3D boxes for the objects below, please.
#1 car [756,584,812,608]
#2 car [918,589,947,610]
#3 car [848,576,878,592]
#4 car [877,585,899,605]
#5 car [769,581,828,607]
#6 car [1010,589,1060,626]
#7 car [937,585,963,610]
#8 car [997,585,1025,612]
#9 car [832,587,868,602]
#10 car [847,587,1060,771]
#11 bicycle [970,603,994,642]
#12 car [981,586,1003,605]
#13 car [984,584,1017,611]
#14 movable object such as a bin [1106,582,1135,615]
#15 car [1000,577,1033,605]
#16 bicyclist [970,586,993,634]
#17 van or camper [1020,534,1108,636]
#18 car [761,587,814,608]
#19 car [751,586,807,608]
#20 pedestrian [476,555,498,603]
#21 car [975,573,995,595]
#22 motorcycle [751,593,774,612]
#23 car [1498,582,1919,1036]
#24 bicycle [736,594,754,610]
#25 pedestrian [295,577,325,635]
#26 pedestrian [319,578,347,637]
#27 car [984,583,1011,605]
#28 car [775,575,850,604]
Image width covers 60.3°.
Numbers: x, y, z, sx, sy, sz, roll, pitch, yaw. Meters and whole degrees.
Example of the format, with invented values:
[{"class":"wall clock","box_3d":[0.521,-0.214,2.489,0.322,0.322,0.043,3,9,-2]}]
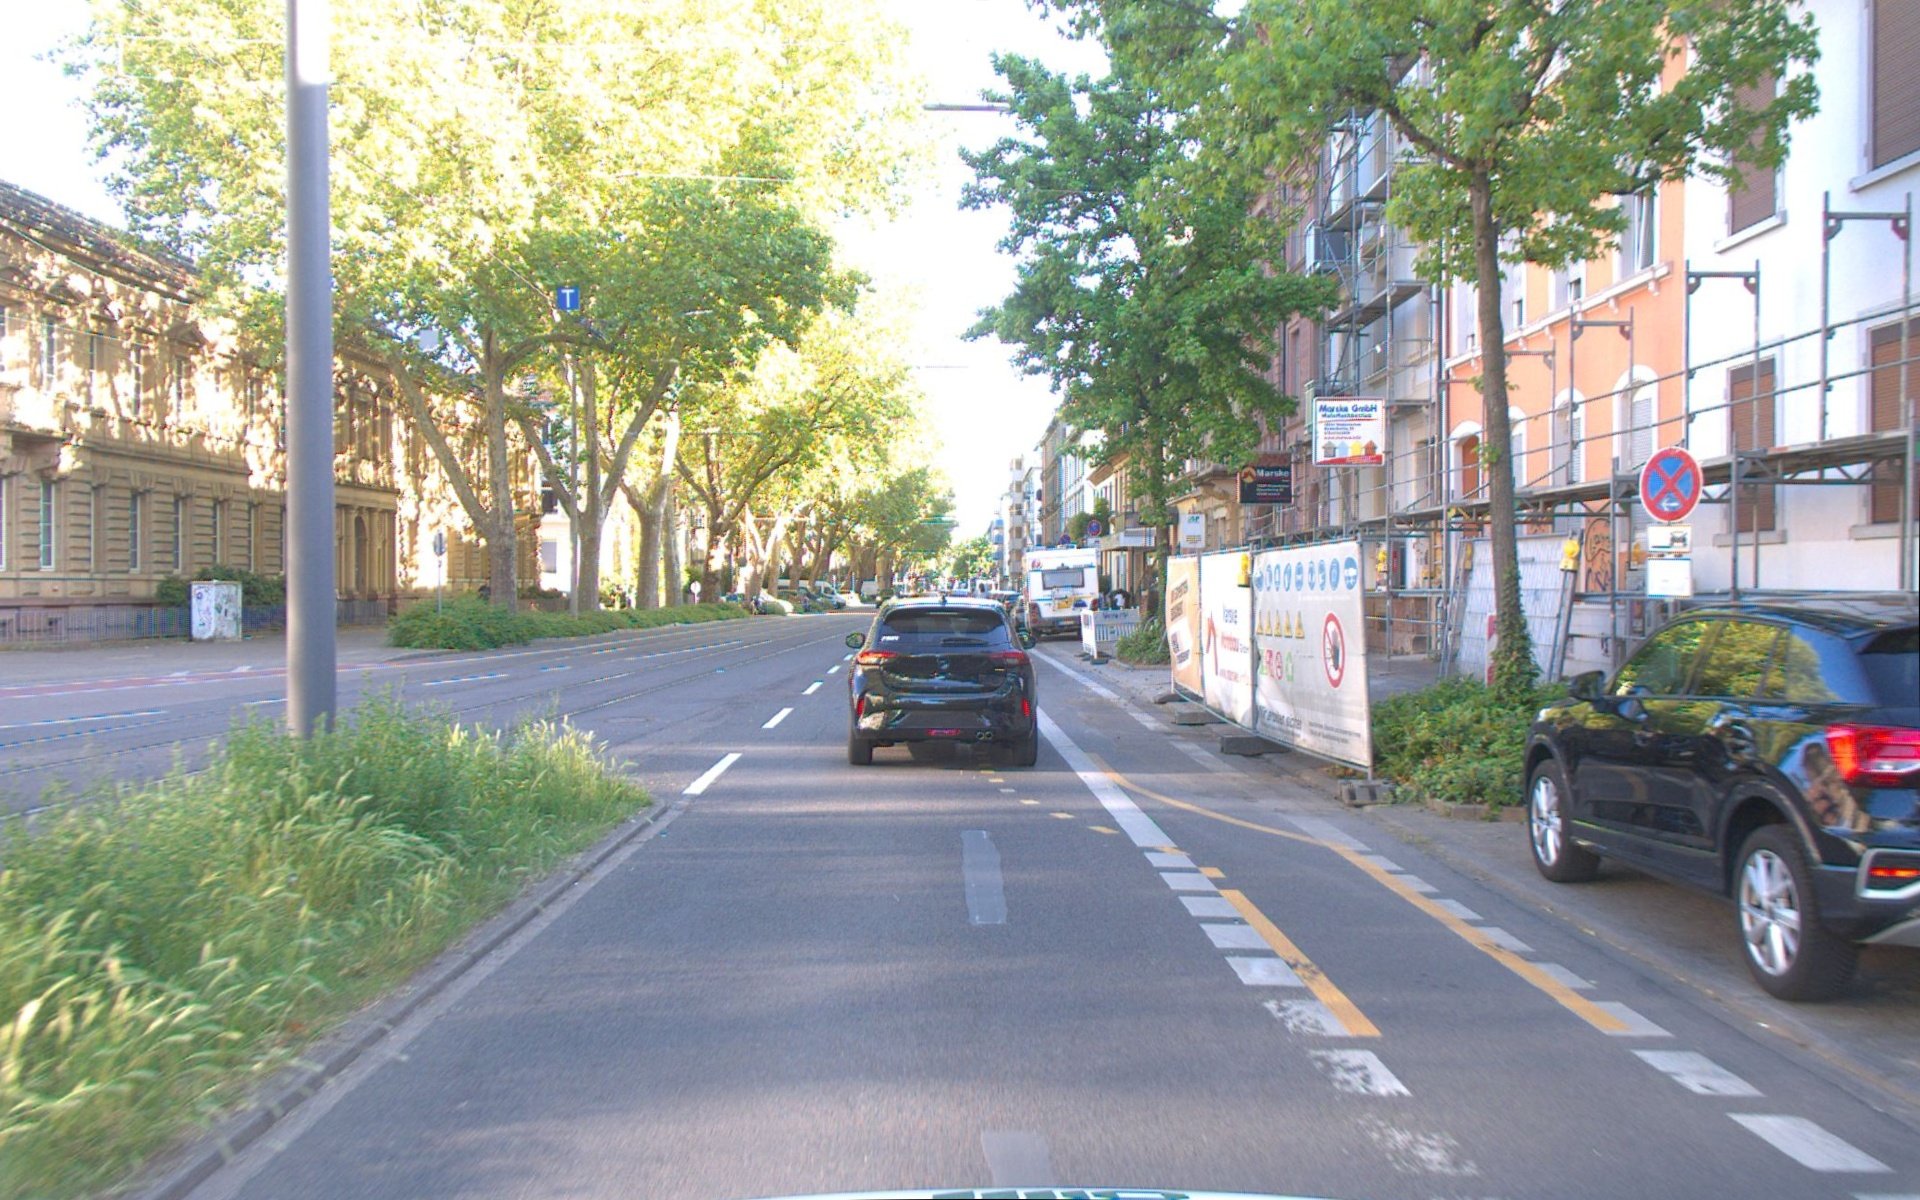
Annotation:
[{"class":"car","box_3d":[-13.032,-0.276,122.903,3.913,1.655,1.879,2,0,0]},{"class":"car","box_3d":[-1.833,-0.020,110.163,1.772,1.361,3.933,0,0,1]},{"class":"car","box_3d":[-12.375,-2.045,211.314,3.842,1.821,1.676,2,0,-3]},{"class":"car","box_3d":[-6.432,-0.459,147.634,1.828,1.658,4.560,0,1,0]},{"class":"car","box_3d":[-13.176,-0.471,134.999,4.579,1.957,1.980,2,0,1]},{"class":"car","box_3d":[3.079,0.295,68.552,1.773,1.460,4.664,-1,0,-1]},{"class":"car","box_3d":[-0.728,-0.209,120.896,1.772,1.772,3.933,0,0,1]},{"class":"car","box_3d":[3.046,-0.104,99.794,1.601,1.573,3.576,-1,0,1]},{"class":"car","box_3d":[-11.984,-0.554,180.753,3.842,1.524,1.676,2,0,-3]},{"class":"car","box_3d":[-0.065,0.646,15.526,1.757,1.466,3.531,1,1,0]},{"class":"bicycle","box_3d":[0.830,0.828,62.966,0.843,1.431,2.523,1,0,-1]},{"class":"car","box_3d":[2.720,-0.367,140.145,1.669,1.481,3.699,-3,0,3]},{"class":"car","box_3d":[2.706,-0.167,110.829,1.843,1.613,3.930,-3,0,-3]},{"class":"movable object such as a bin","box_3d":[7.717,-0.080,79.482,1.267,1.547,1.286,1,0,0]},{"class":"car","box_3d":[2.996,-0.488,87.770,1.659,1.417,4.495,-1,0,1]},{"class":"bicyclist","box_3d":[0.826,0.371,62.927,0.831,1.770,1.161,1,0,-1]},{"class":"van or camper","box_3d":[3.368,-0.478,55.012,2.426,3.023,7.885,-3,0,1]},{"class":"car","box_3d":[-13.045,-0.215,125.307,3.841,1.446,1.818,2,0,-2]},{"class":"car","box_3d":[-13.215,-0.200,120.761,3.839,1.467,1.749,2,0,0]},{"class":"pedestrian","box_3d":[-18.632,-0.812,65.118,0.705,1.882,0.836,1,0,-7]},{"class":"car","box_3d":[2.703,-1.725,177.738,2.033,2.257,4.934,-3,0,1]},{"class":"motorcycle","box_3d":[-12.041,0.153,100.881,0.865,1.167,2.392,1,1,8]},{"class":"car","box_3d":[4.035,0.691,7.695,1.727,1.509,4.110,-1,1,0]},{"class":"bicycle","box_3d":[-13.117,0.120,100.889,0.529,0.957,2.035,1,1,8]},{"class":"pedestrian","box_3d":[-19.280,0.173,49.052,0.658,1.727,0.661,1,0,-7]},{"class":"pedestrian","box_3d":[-18.619,0.227,49.144,0.622,1.727,0.655,1,0,-7]},{"class":"car","box_3d":[2.735,-0.446,120.432,1.841,1.481,4.026,-3,0,1]},{"class":"car","box_3d":[-13.330,-0.925,149.829,6.492,2.451,2.458,2,0,0]}]
